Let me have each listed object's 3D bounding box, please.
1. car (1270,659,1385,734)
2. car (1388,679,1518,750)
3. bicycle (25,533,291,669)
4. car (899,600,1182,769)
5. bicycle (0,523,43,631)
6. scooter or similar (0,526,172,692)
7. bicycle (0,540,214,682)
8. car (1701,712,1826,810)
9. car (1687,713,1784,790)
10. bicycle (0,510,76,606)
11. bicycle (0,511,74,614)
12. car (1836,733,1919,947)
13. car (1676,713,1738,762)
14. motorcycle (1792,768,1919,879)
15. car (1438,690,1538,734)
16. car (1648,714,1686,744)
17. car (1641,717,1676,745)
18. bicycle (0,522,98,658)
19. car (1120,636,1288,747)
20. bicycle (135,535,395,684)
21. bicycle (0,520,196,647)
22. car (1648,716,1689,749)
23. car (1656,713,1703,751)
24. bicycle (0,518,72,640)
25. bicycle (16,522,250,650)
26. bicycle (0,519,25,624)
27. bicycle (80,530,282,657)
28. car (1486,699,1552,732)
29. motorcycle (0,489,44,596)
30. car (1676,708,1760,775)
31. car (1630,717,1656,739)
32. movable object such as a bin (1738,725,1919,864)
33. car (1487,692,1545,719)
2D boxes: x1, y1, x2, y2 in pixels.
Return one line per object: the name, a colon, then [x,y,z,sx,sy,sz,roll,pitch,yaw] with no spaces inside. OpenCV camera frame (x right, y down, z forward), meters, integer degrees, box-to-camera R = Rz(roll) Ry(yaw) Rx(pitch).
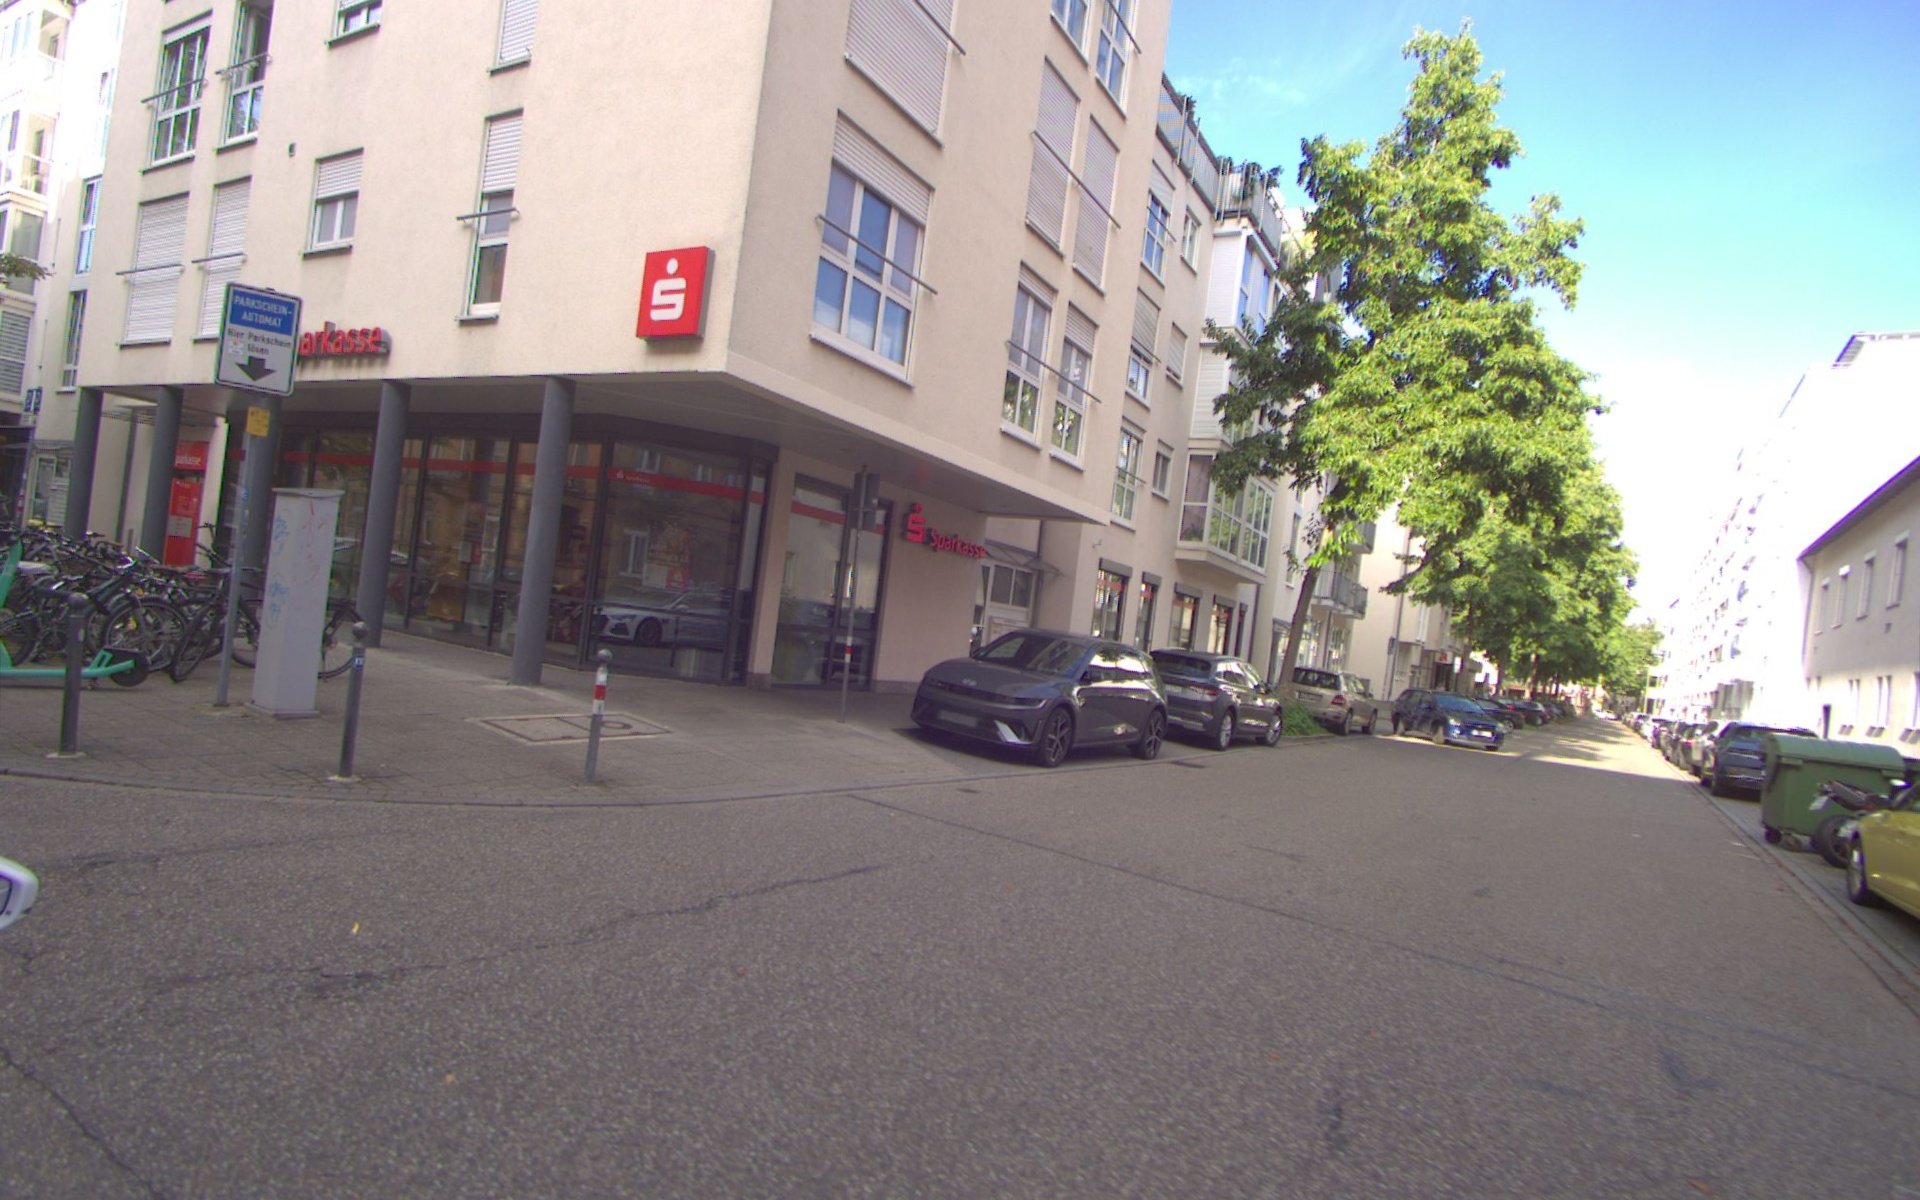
car: [10.061,2.594,27.373,1.775,1.621,3.979,9,1,35]
car: [13.984,3.208,28.801,1.770,1.497,3.850,6,-1,1]
bicycle: [-7.347,0.042,9.304,0.639,1.101,1.766,8,2,33]
car: [1.264,1.120,13.462,1.778,1.650,4.368,9,0,32]
bicycle: [-10.541,-0.287,10.181,0.405,1.114,1.765,8,2,34]
scooter or similar: [-6.867,0.073,7.709,1.194,1.163,0.376,5,4,-28]
bicycle: [-7.250,0.095,8.251,0.404,1.070,1.768,8,2,26]
car: [16.683,3.272,21.047,1.608,1.587,3.890,7,-1,35]
car: [19.772,3.804,25.755,1.608,1.587,3.455,7,-1,35]
bicycle: [-12.462,-0.573,12.783,0.492,1.174,1.732,8,2,33]
bicycle: [-11.824,-0.506,11.992,1.781,1.174,0.495,6,2,-33]
car: [8.420,1.981,7.748,1.767,1.518,3.790,6,-1,31]
car: [27.769,5.098,37.474,1.558,1.480,3.457,7,-2,34]
motorcycle: [10.950,2.633,11.449,2.081,1.015,0.659,7,0,26]
car: [24.086,5.090,46.017,3.688,1.450,1.591,6,-1,16]
car: [40.592,7.437,57.799,1.550,1.418,3.666,7,-2,34]
car: [43.176,8.087,62.197,1.550,1.418,3.666,7,-2,34]
bicycle: [-8.530,-0.100,8.728,0.404,1.161,1.497,8,2,26]
car: [4.551,1.681,18.435,1.615,1.586,3.608,9,0,35]
bicycle: [-6.245,0.112,9.138,0.639,1.177,1.766,8,2,33]
bicycle: [-8.845,-0.159,10.272,0.403,1.161,1.771,7,2,11]
car: [37.729,7.059,53.618,1.550,1.418,3.666,7,-2,34]
car: [34.096,6.268,47.720,1.558,1.480,3.761,7,-2,34]
bicycle: [-9.443,-0.215,9.405,0.403,1.161,1.771,7,2,11]
bicycle: [-8.311,-0.103,10.206,0.404,1.161,1.768,7,2,25]
bicycle: [-11.129,-0.365,10.614,0.405,1.133,1.765,8,2,34]
bicycle: [-7.765,-0.033,10.093,0.404,1.161,1.496,8,2,31]
car: [33.033,6.804,59.428,3.206,1.450,1.452,6,-1,33]
motorcycle: [-14.068,-0.877,13.725,0.753,1.453,2.149,8,2,35]
car: [22.333,4.165,29.735,1.623,1.591,3.761,7,-2,34]
car: [52.296,9.791,77.057,1.493,1.418,3.451,7,-2,34]
movable object such as a bin: [11.525,2.474,12.861,2.159,1.473,1.315,4,-2,25]
car: [36.291,6.868,65.725,2.960,1.271,1.289,6,-1,14]
